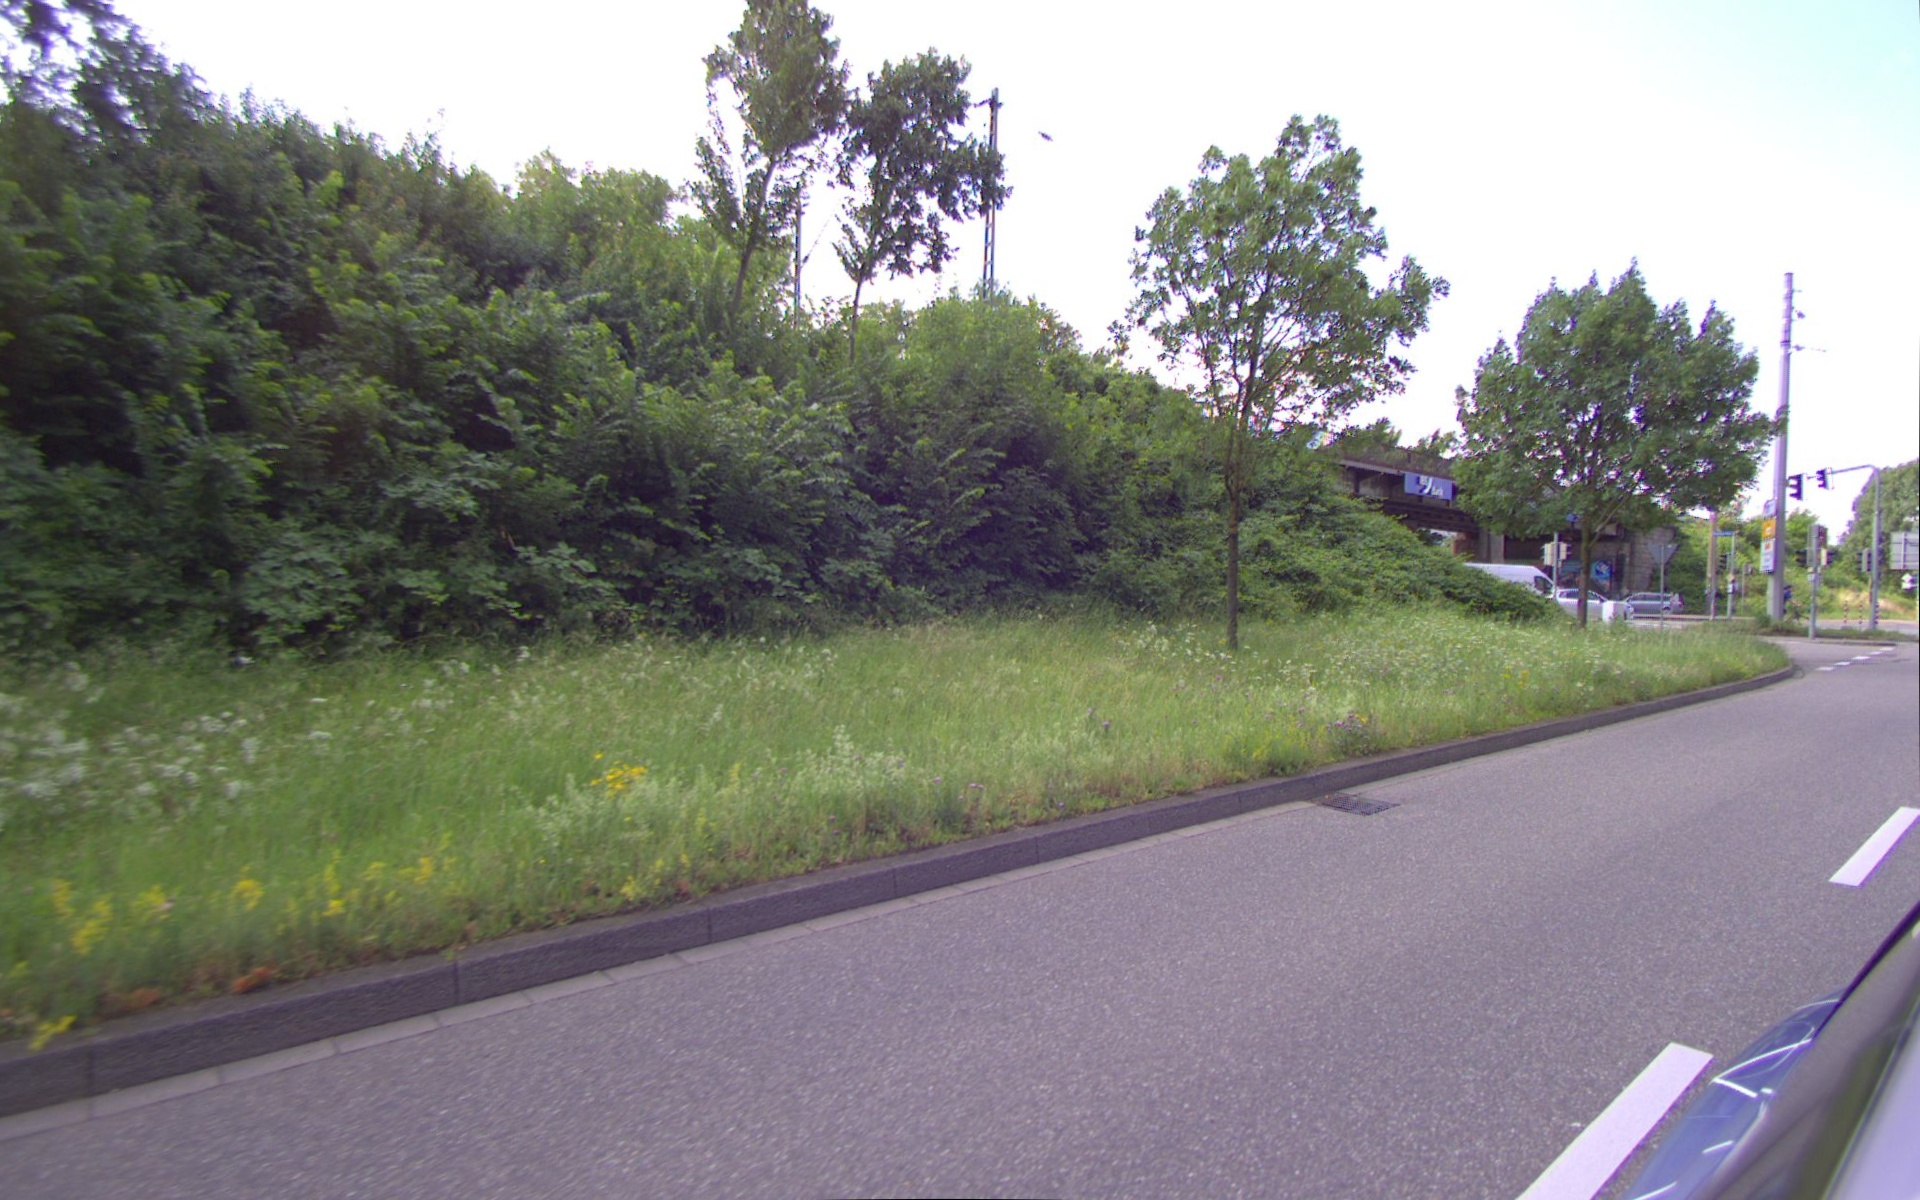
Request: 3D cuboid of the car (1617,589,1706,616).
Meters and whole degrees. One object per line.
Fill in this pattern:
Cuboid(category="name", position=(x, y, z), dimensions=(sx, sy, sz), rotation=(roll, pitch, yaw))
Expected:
Cuboid(category="car", position=(41.869, 0.120, 60.495), dimensions=(3.941, 1.482, 1.765), rotation=(-2, 0, 15))

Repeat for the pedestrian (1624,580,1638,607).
Cuboid(category="pedestrian", position=(43.737, -0.420, 65.954), dimensions=(0.680, 1.671, 0.608), rotation=(-4, 3, -40))

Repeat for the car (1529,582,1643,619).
Cuboid(category="car", position=(27.930, 0.024, 45.275), dimensions=(3.940, 1.495, 1.701), rotation=(-1, 1, 14))

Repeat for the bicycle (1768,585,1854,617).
Cuboid(category="bicycle", position=(31.760, 0.040, 37.821), dimensions=(2.291, 1.106, 0.840), rotation=(0, 4, 22))

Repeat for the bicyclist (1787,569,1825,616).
Cuboid(category="bicyclist", position=(31.633, -0.277, 37.855), dimensions=(0.814, 1.698, 0.840), rotation=(0, 4, 22))

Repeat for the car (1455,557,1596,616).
Cuboid(category="car", position=(27.242, -0.670, 48.981), dimensions=(5.546, 2.555, 2.257), rotation=(-1, 5, 16))
